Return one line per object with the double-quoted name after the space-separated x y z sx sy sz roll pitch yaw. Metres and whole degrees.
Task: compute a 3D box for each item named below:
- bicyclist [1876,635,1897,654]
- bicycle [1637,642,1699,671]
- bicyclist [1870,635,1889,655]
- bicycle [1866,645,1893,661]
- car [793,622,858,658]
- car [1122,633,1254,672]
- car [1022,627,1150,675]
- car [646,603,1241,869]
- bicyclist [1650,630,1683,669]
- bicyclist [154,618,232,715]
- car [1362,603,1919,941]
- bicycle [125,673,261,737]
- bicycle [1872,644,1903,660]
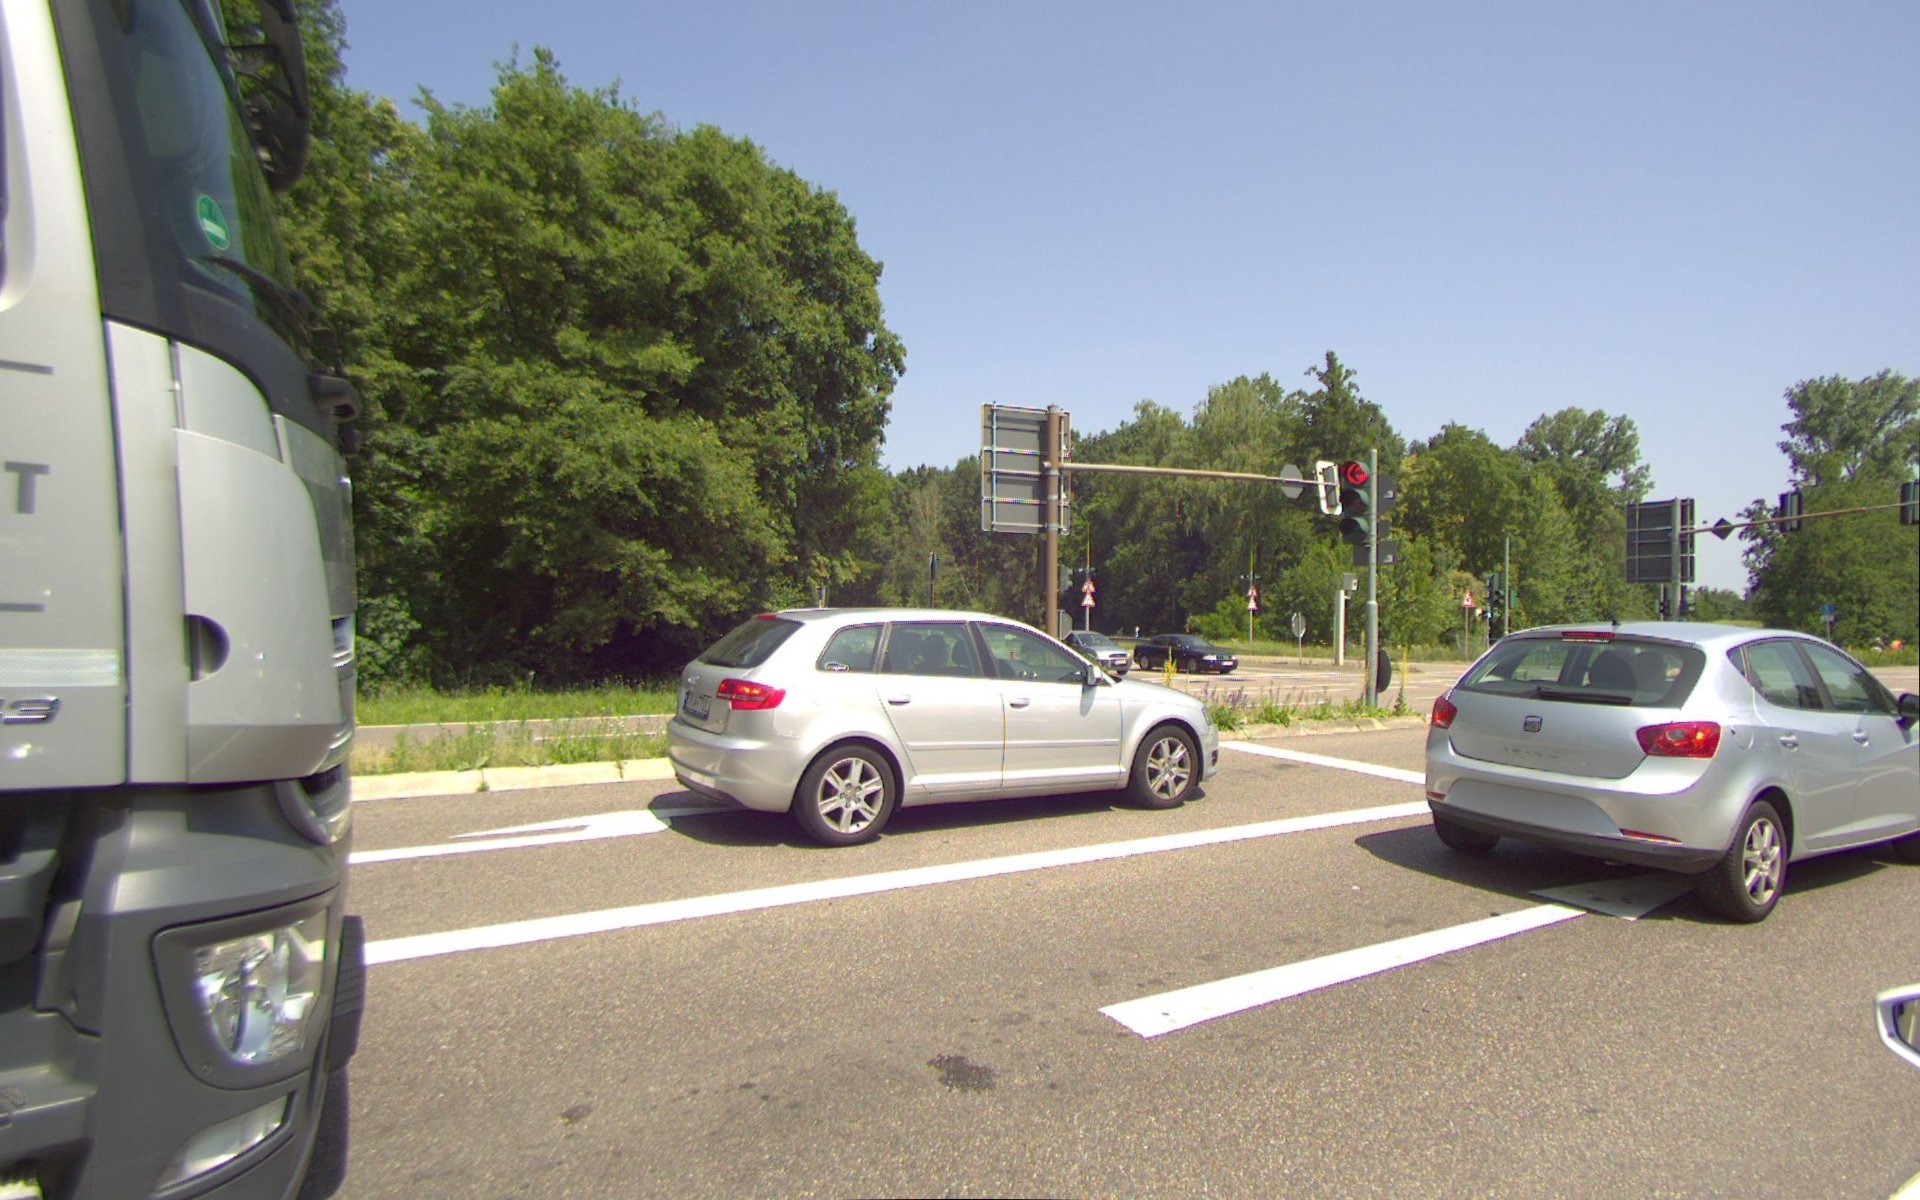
58.001 2.791 62.897 0.583 1.211 0.756 1 -2 -20 "bicyclist"
27.348 2.186 38.845 1.831 1.077 0.725 0 -1 7 "bicycle"
58.572 2.870 63.983 0.583 1.211 0.735 1 -2 -19 "bicyclist"
58.603 3.367 63.995 1.531 1.019 0.604 1 -2 -20 "bicycle"
-7.637 2.241 56.604 1.977 1.923 4.782 1 -2 -30 "car"
8.258 1.874 36.902 2.080 1.307 4.783 1 -2 -30 "car"
4.425 1.757 35.930 2.105 1.588 4.782 1 -2 -30 "car"
-0.026 0.770 7.248 3.971 1.410 1.755 1 0 -33 "car"
27.324 1.904 38.863 0.701 1.479 0.927 0 -1 7 "bicyclist"
-12.081 1.028 15.845 0.798 1.484 0.658 1 -1 -21 "bicyclist"
4.381 0.792 6.059 3.783 1.449 1.657 1 0 -30 "car"
-12.062 1.643 15.849 1.581 0.935 0.564 1 -1 -21 "bicycle"
58.094 3.246 62.924 1.773 1.018 0.675 1 -2 -21 "bicycle"
